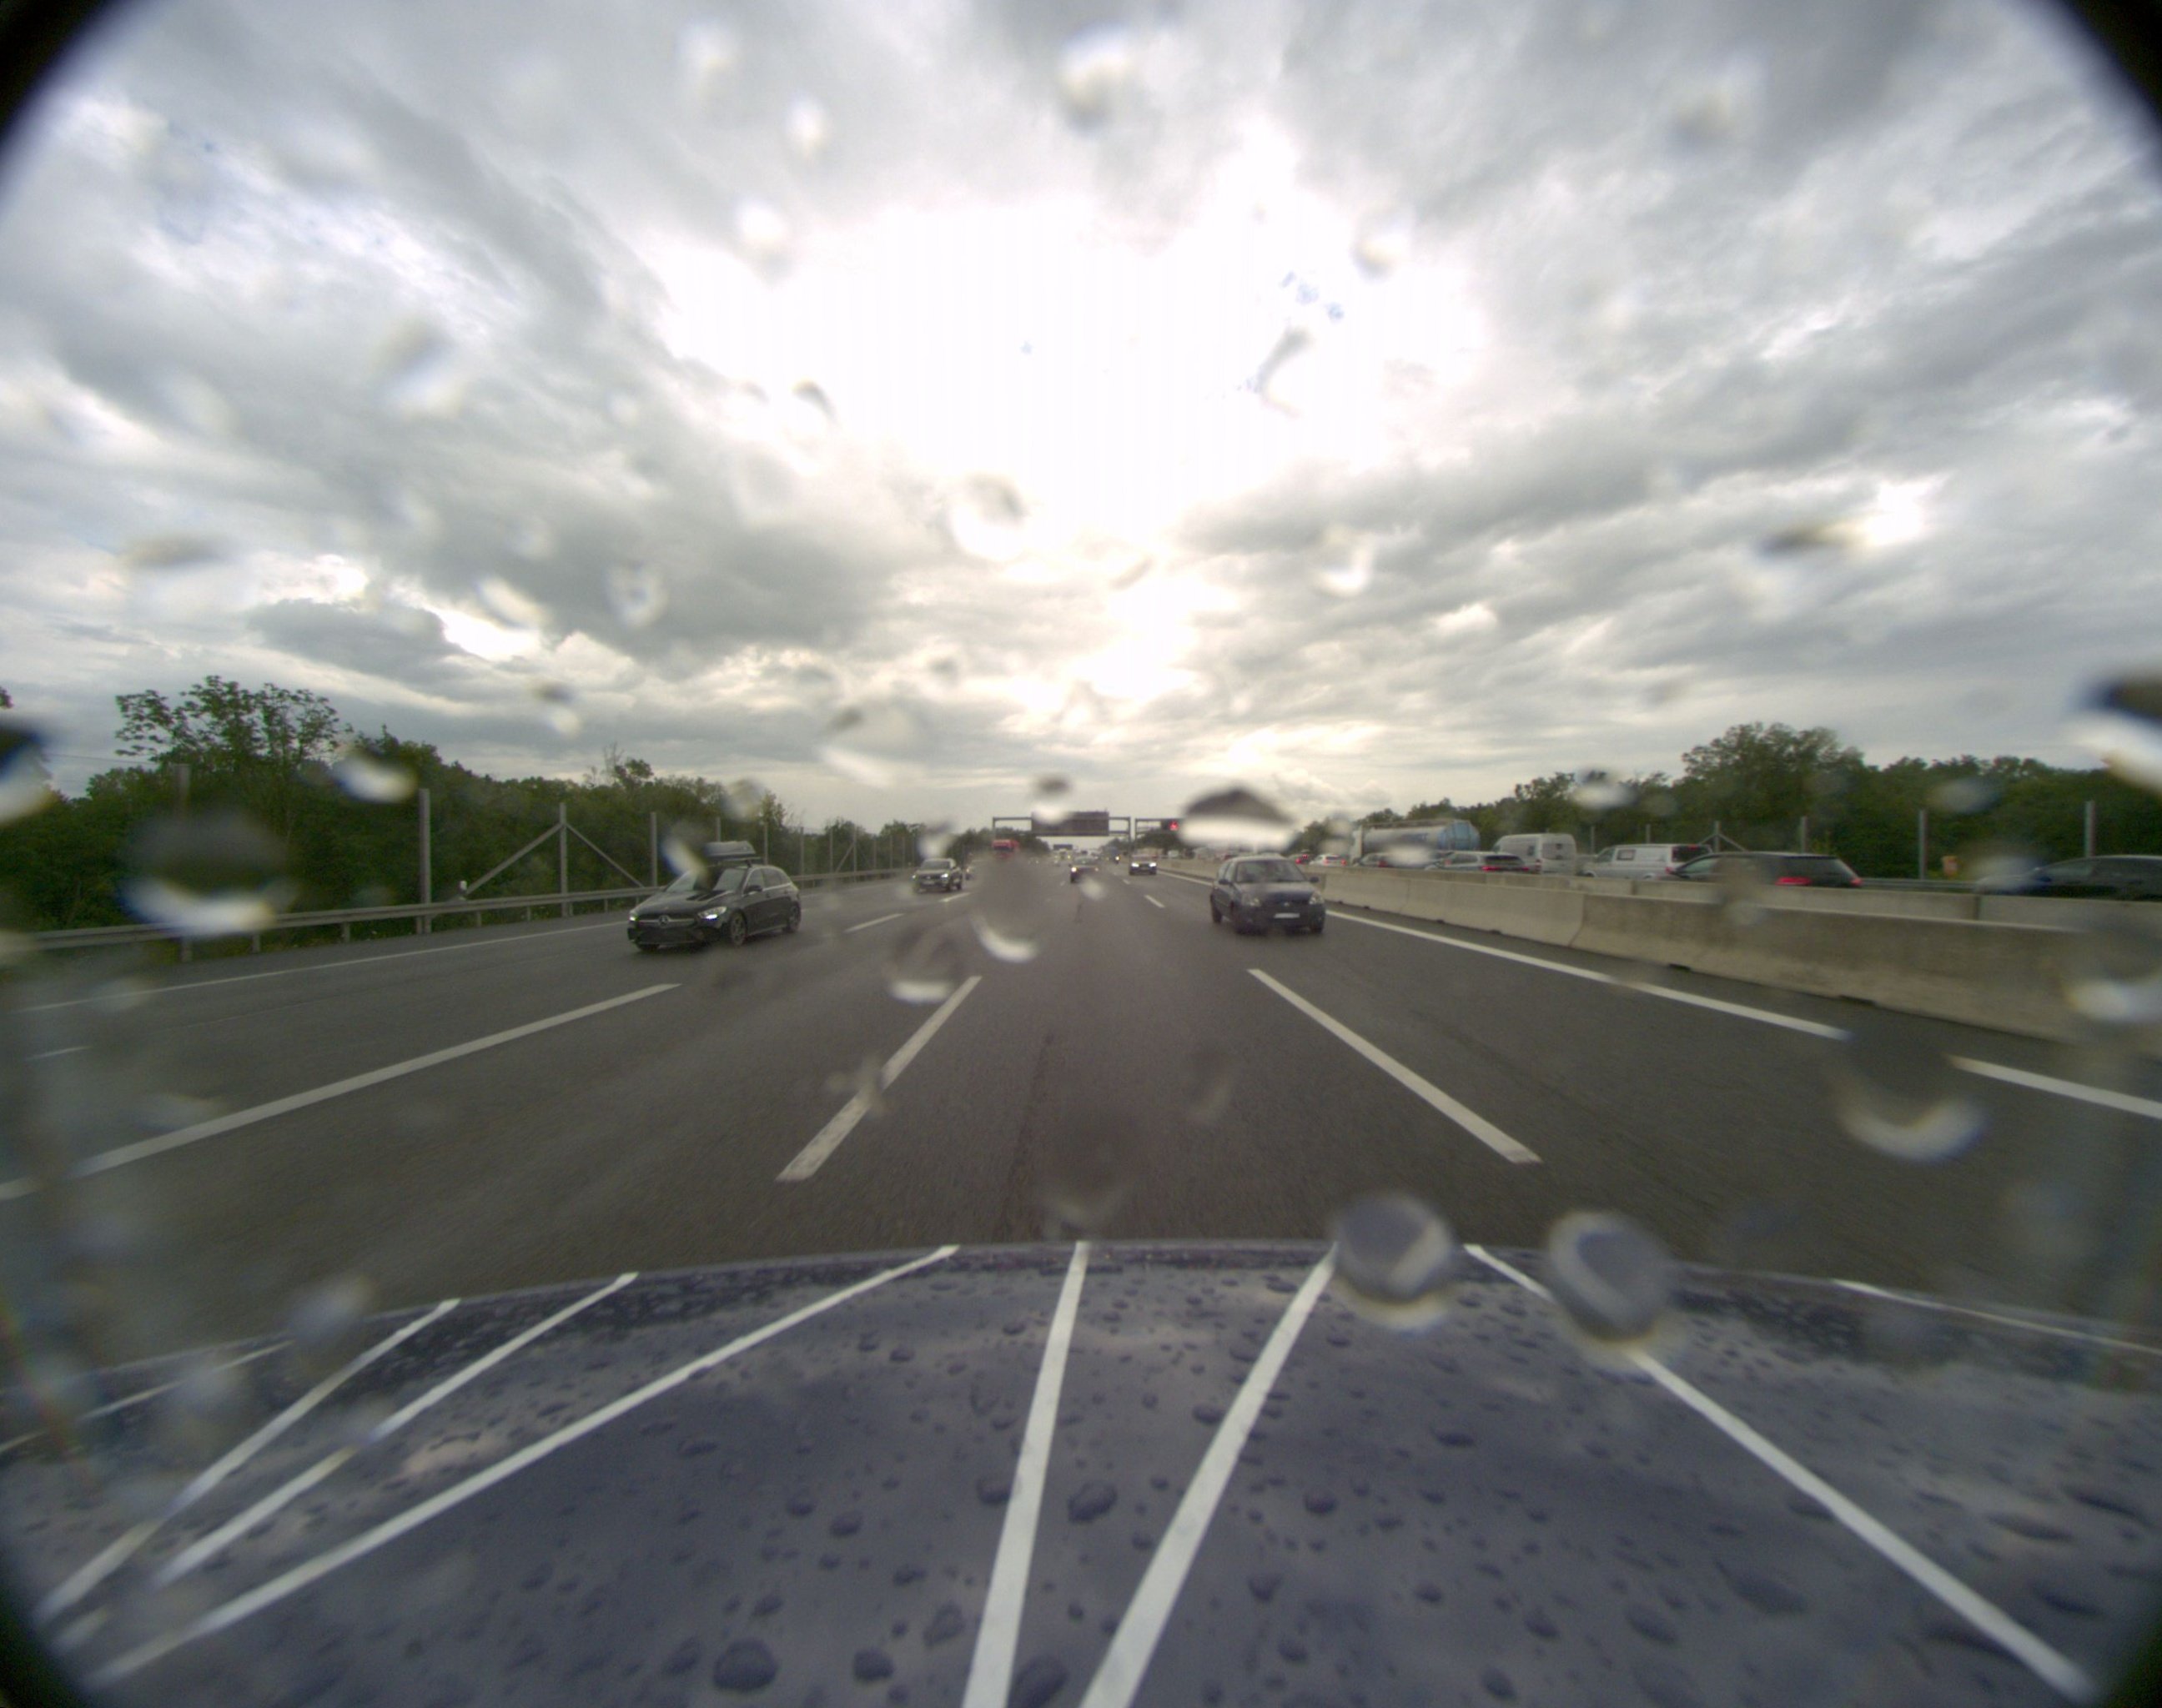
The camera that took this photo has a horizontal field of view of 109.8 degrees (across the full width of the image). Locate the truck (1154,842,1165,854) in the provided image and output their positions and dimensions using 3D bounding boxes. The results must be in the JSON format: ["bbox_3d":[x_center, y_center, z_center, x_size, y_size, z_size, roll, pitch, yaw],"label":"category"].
[{"bbox_3d":[27.575,-2.040,266.036,2.906,3.817,10.757,-1,0,1],"label":"truck"}]

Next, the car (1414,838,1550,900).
[{"bbox_3d":[14.073,0.489,27.119,2.121,1.926,5.215,-2,0,1],"label":"car"}]

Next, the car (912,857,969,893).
[{"bbox_3d":[-6.636,0.948,36.245,1.796,1.553,3.722,-2,0,3],"label":"car"}]

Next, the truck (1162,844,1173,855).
[{"bbox_3d":[27.240,-1.333,239.499,2.470,3.516,7.807,-1,0,0],"label":"truck"}]

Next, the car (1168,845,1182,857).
[{"bbox_3d":[20.563,-0.637,165.813,2.208,2.474,6.065,-1,0,0],"label":"car"}]

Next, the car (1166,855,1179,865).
[{"bbox_3d":[15.086,0.990,125.668,1.646,1.484,4.934,-2,0,1],"label":"car"}]

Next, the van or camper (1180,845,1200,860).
[{"bbox_3d":[15.388,-0.282,107.660,1.998,2.002,6.346,-2,0,1],"label":"van or camper"}]

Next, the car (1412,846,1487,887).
[{"bbox_3d":[18.859,0.614,39.107,1.898,1.942,4.000,-2,0,1],"label":"car"}]

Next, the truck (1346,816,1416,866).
[{"bbox_3d":[22.932,-0.927,58.510,2.735,3.493,6.800,-2,0,1],"label":"truck"}]

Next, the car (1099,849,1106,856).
[{"bbox_3d":[6.200,-0.412,216.819,1.998,1.790,4.899,-2,0,1],"label":"car"}]

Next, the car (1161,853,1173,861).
[{"bbox_3d":[16.134,0.608,143.328,1.762,1.489,4.394,-2,0,1],"label":"car"}]

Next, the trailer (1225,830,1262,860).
[{"bbox_3d":[27.319,-1.389,128.662,3.155,4.828,13.294,-2,0,-1],"label":"trailer"}]

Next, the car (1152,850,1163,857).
[{"bbox_3d":[16.522,-0.021,164.153,1.763,1.429,4.393,-2,0,0],"label":"car"}]

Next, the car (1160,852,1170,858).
[{"bbox_3d":[20.973,0.273,189.348,1.803,1.349,5.129,-1,0,0],"label":"car"}]

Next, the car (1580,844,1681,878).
[{"bbox_3d":[26.322,0.319,36.598,1.998,1.521,4.000,-1,0,1],"label":"car"}]

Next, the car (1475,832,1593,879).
[{"bbox_3d":[22.865,0.068,38.780,2.121,2.137,6.618,-2,0,1],"label":"car"}]

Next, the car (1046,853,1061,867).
[{"bbox_3d":[-3.934,0.849,109.141,1.962,1.830,4.000,-1,0,0],"label":"car"}]

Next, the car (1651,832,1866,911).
[{"bbox_3d":[18.737,0.454,21.366,2.121,1.926,4.426,-2,0,1],"label":"car"}]

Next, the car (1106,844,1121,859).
[{"bbox_3d":[5.126,-0.401,119.485,1.999,2.354,4.171,-2,0,-1],"label":"car"}]

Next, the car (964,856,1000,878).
[{"bbox_3d":[-7.150,0.928,55.430,1.898,1.438,4.246,-2,0,2],"label":"car"}]

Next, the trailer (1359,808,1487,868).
[{"bbox_3d":[22.858,-0.941,52.065,2.717,3.505,13.610,-2,0,1],"label":"trailer"}]

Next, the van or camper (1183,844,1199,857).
[{"bbox_3d":[24.173,-0.796,167.087,2.590,2.830,6.213,-1,0,-1],"label":"van or camper"}]

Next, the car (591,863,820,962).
[{"bbox_3d":[-7.173,1.008,15.301,2.110,1.596,5.065,-1,0,-1],"label":"car"}]

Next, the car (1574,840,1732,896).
[{"bbox_3d":[22.160,0.498,29.803,2.121,1.926,5.439,-2,0,1],"label":"car"}]

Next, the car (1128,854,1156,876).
[{"bbox_3d":[4.393,0.755,55.271,1.751,1.489,4.015,-1,0,1],"label":"car"}]

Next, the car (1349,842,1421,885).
[{"bbox_3d":[15.106,0.457,38.016,1.898,1.942,4.213,-2,0,1],"label":"car"}]

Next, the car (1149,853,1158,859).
[{"bbox_3d":[17.263,0.404,181.636,1.707,1.383,4.505,-1,0,-1],"label":"car"}]

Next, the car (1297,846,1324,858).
[{"bbox_3d":[26.727,-0.280,88.513,1.894,1.314,4.000,-2,0,1],"label":"car"}]

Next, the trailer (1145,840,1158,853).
[{"bbox_3d":[23.772,-2.468,257.400,3.195,4.169,11.957,-1,0,0],"label":"trailer"}]

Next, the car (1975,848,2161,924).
[{"bbox_3d":[22.196,0.619,16.085,1.872,1.444,4.000,-2,0,1],"label":"car"}]

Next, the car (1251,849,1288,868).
[{"bbox_3d":[14.882,0.330,60.267,1.769,1.475,4.972,-1,0,1],"label":"car"}]

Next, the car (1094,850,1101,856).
[{"bbox_3d":[5.252,-0.359,245.253,1.998,1.790,4.899,-2,0,1],"label":"car"}]

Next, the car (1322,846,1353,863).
[{"bbox_3d":[23.958,0.070,71.003,1.597,1.494,4.000,-1,0,1],"label":"car"}]

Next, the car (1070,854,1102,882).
[{"bbox_3d":[0.337,0.776,44.040,1.668,1.431,4.405,-1,0,2],"label":"car"}]

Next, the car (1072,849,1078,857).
[{"bbox_3d":[-1.881,-0.196,243.269,2.037,2.587,4.513,0,0,-2],"label":"car"}]

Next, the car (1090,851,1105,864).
[{"bbox_3d":[2.417,0.508,109.480,2.133,1.830,4.000,-1,0,1],"label":"car"}]

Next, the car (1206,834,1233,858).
[{"bbox_3d":[19.729,-1.083,108.705,2.504,3.280,7.627,-2,0,1],"label":"car"}]

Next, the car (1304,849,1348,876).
[{"bbox_3d":[19.166,0.666,59.671,1.730,1.957,5.043,-2,0,0],"label":"car"}]

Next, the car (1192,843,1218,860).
[{"bbox_3d":[14.557,-0.267,89.561,2.100,1.957,5.631,-2,0,1],"label":"car"}]

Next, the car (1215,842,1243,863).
[{"bbox_3d":[14.751,-0.173,75.870,1.868,1.957,4.806,-2,0,1],"label":"car"}]

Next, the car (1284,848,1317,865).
[{"bbox_3d":[19.775,0.193,68.564,1.804,1.494,4.351,-1,0,1],"label":"car"}]

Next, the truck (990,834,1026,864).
[{"bbox_3d":[-10.412,-0.653,110.394,3.160,3.979,15.638,-1,0,1],"label":"truck"}]

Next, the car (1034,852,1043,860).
[{"bbox_3d":[-8.238,0.437,147.457,1.820,1.534,4.357,-1,0,-2],"label":"car"}]

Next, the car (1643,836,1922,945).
[{"bbox_3d":[14.269,0.673,15.851,2.121,1.926,4.000,-2,0,1],"label":"car"}]

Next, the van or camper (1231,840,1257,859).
[{"bbox_3d":[19.863,-0.532,92.845,2.100,2.173,4.971,-2,0,1],"label":"van or camper"}]

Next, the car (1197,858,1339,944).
[{"bbox_3d":[3.611,0.831,15.618,1.781,1.399,5.016,-1,0,1],"label":"car"}]
